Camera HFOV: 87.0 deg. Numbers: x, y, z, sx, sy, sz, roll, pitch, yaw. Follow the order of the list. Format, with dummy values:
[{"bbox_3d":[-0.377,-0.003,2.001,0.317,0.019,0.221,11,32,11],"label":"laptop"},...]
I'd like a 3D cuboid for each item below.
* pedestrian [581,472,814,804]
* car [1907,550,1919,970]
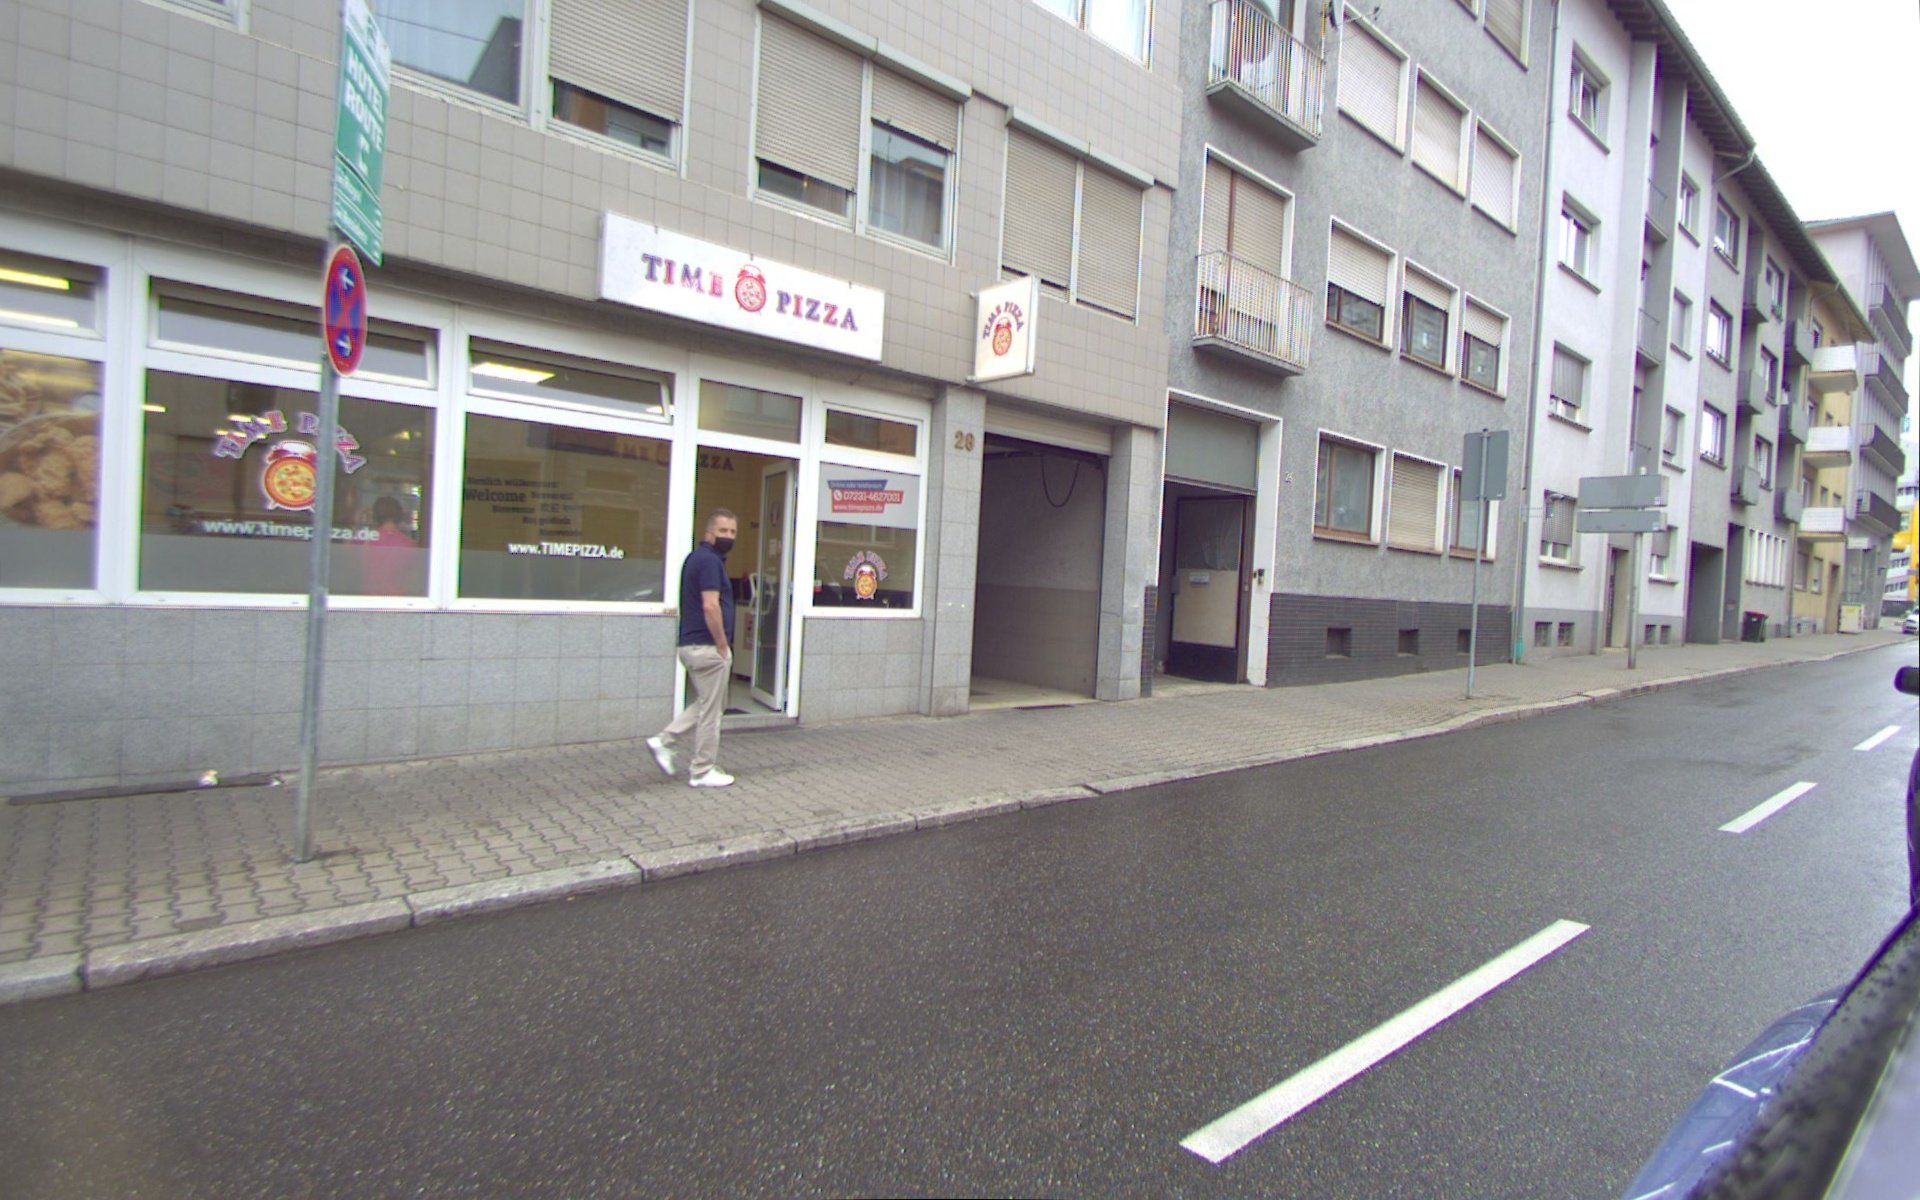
[{"bbox_3d":[-1.681,0.183,6.459,1.100,1.887,0.871,0,7,-41],"label":"pedestrian"},{"bbox_3d":[6.070,0.648,4.936,4.144,1.743,1.697,-1,0,-41],"label":"car"}]
